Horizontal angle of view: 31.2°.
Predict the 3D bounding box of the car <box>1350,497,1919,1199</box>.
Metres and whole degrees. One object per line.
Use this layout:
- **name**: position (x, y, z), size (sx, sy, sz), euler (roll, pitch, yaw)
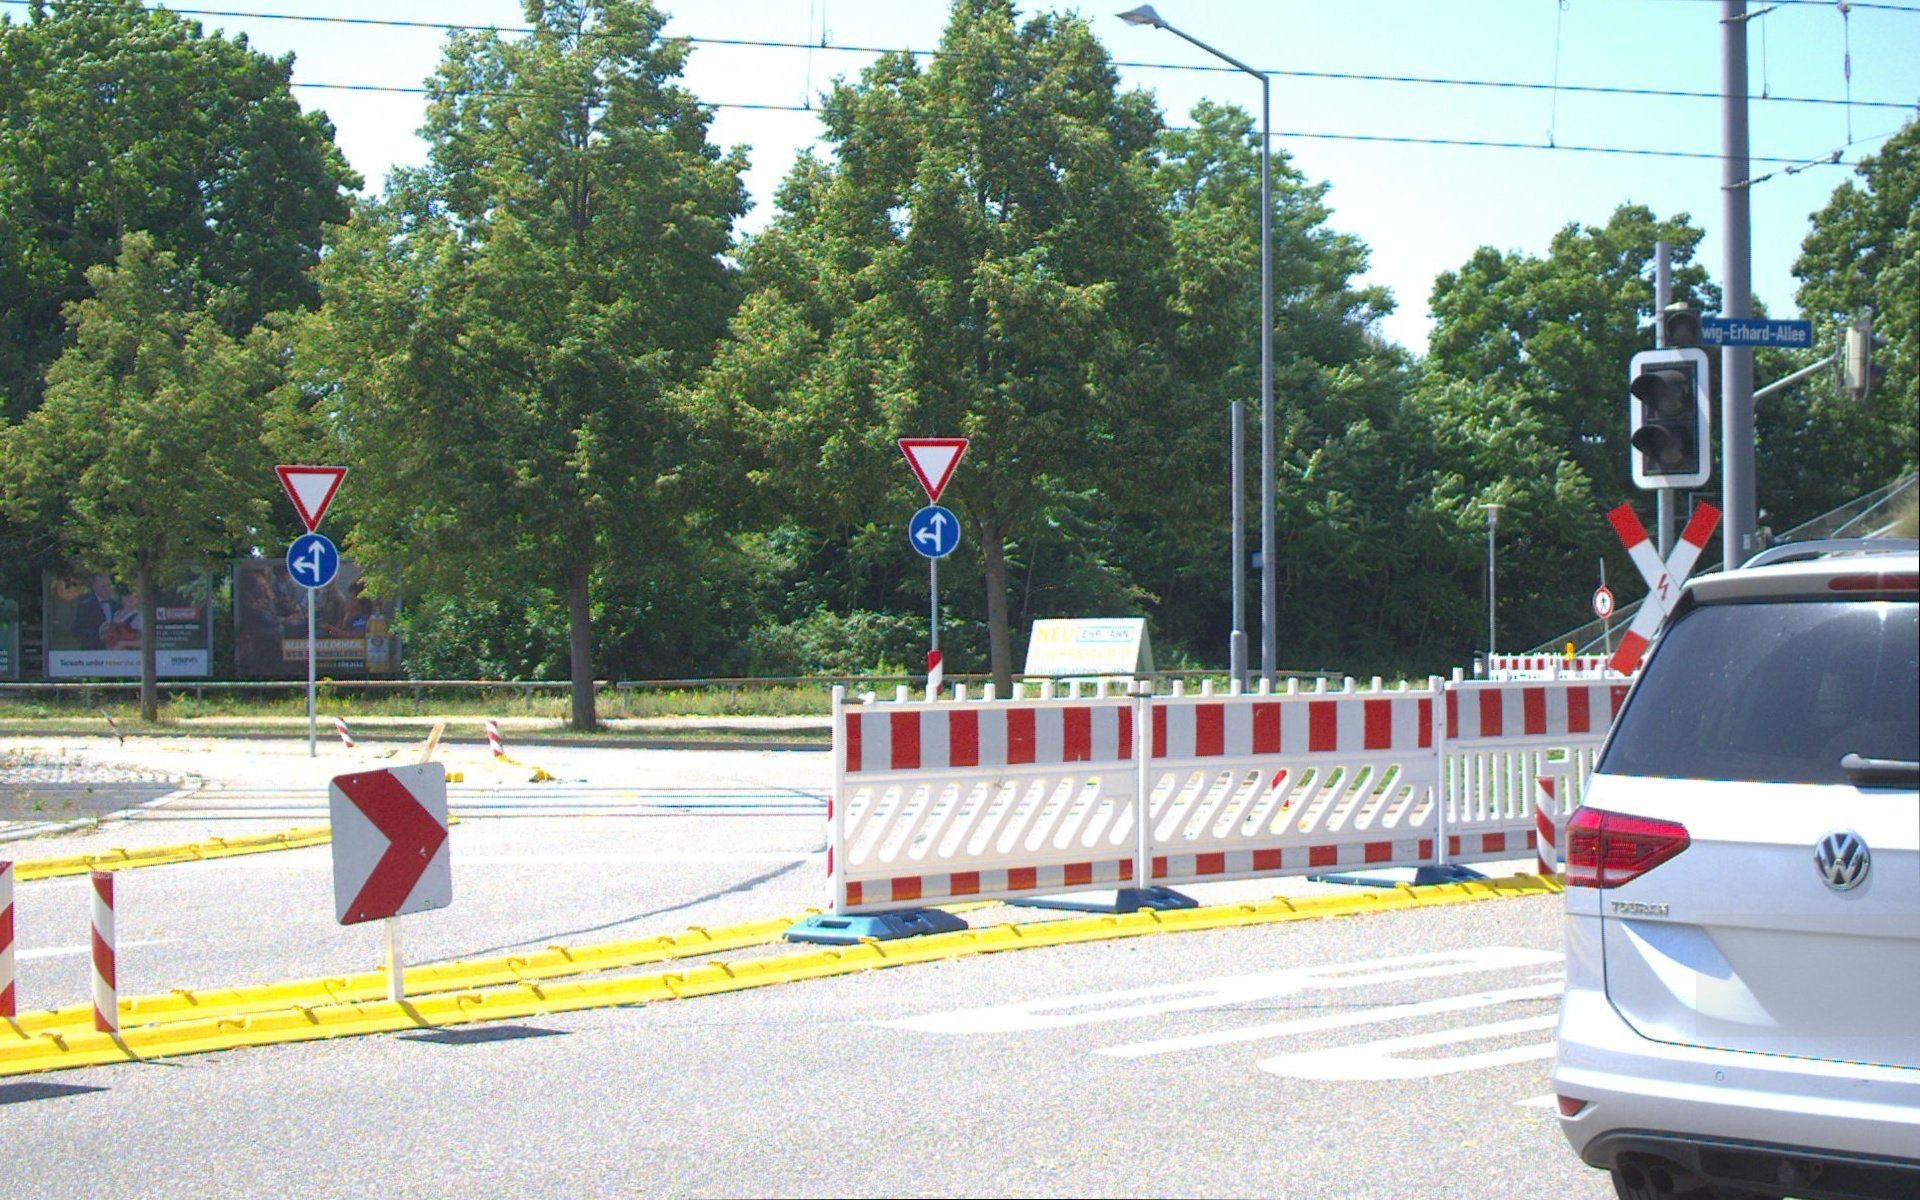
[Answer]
- **car**: position (3.020, 0.636, 8.180), size (1.805, 1.643, 4.593), euler (1, 0, 42)
